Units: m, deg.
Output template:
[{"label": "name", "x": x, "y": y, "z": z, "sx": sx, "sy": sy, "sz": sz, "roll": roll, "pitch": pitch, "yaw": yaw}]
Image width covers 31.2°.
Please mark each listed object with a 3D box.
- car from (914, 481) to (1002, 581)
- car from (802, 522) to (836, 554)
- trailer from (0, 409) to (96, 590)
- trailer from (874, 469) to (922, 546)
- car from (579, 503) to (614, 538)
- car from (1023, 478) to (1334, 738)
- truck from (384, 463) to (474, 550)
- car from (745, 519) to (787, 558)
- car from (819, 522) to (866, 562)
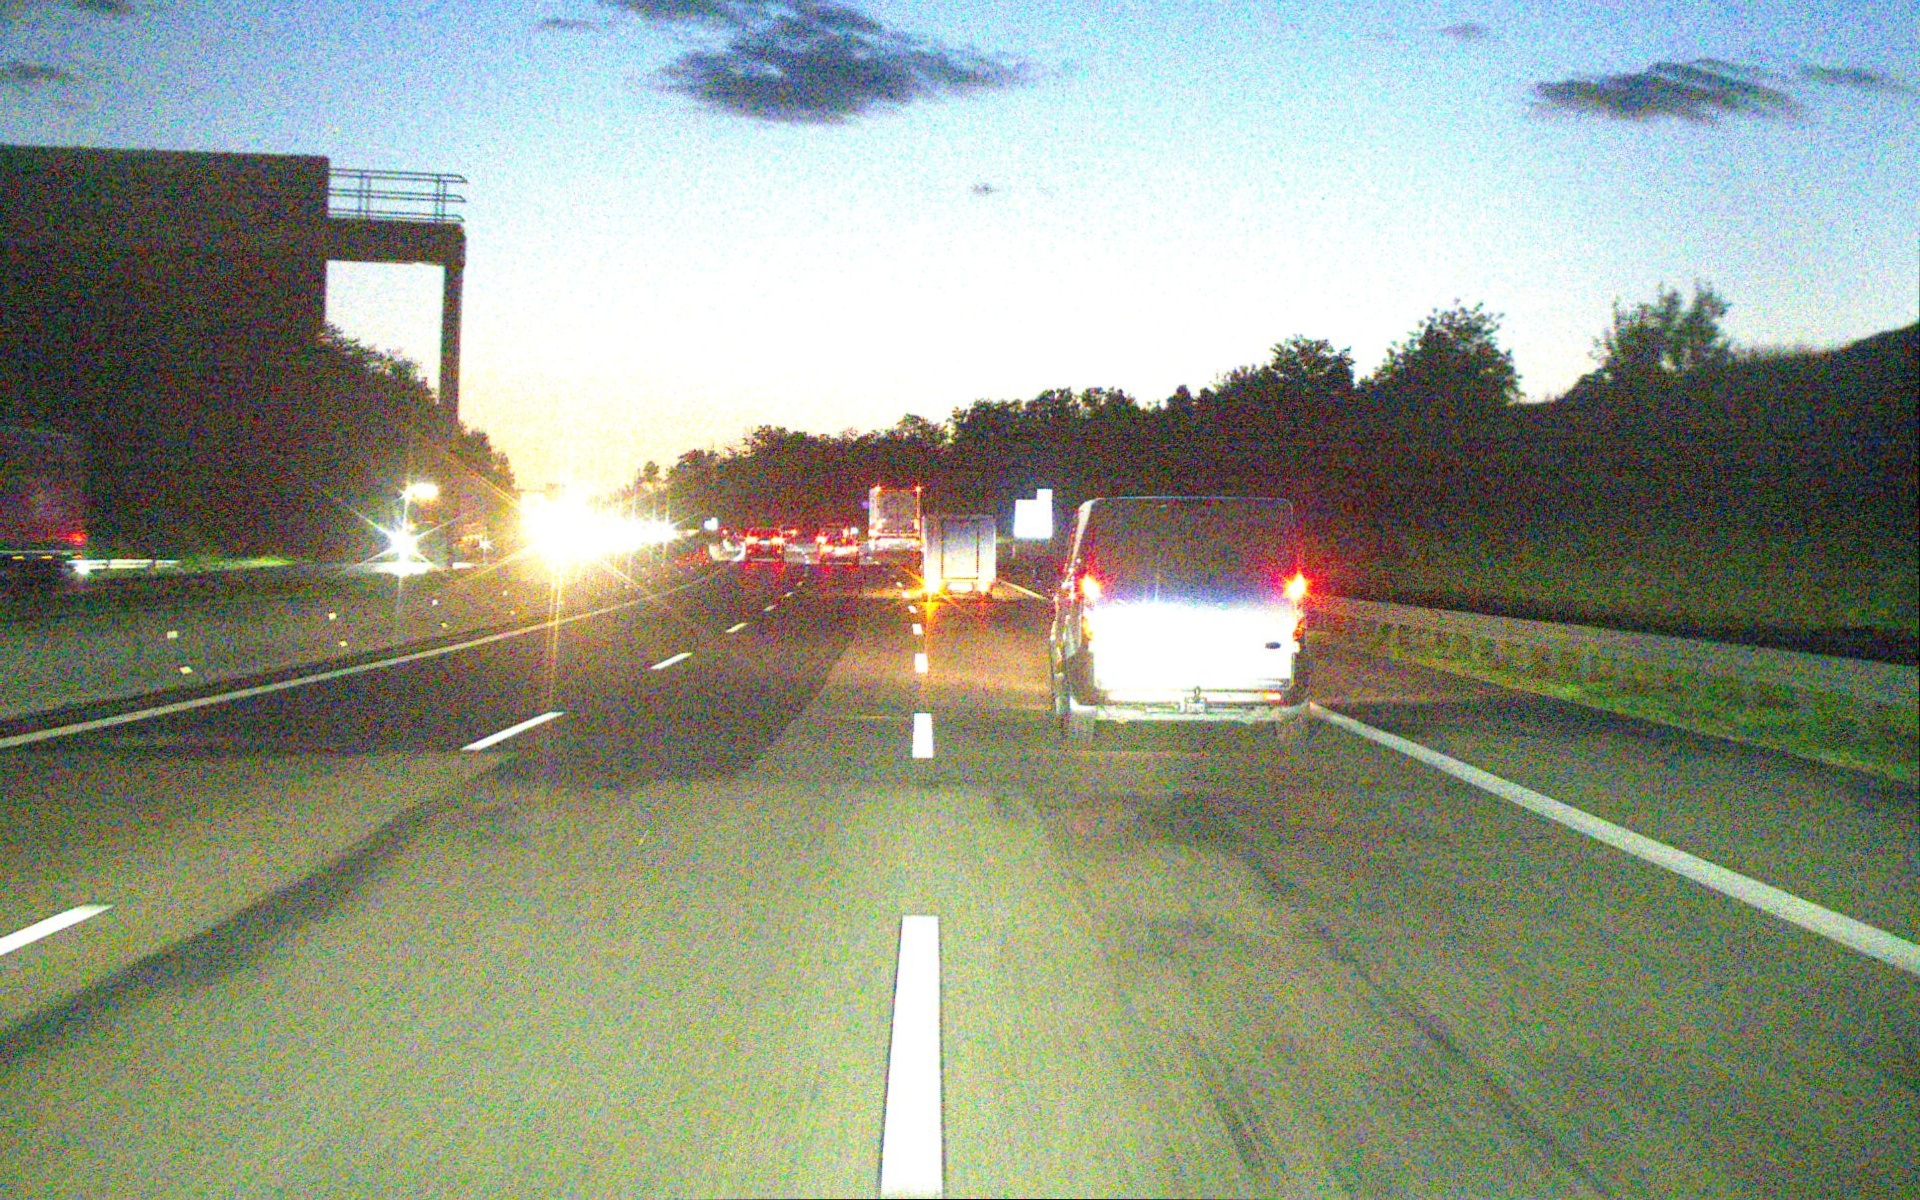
[{"label": "car", "x": -0.086, "y": -1.878, "z": 93.889, "sx": 2.032, "sy": 2.638, "sz": 5.726, "roll": 0, "pitch": 1, "yaw": -4}, {"label": "car", "x": -8.355, "y": -3.685, "z": 204.293, "sx": 1.993, "sy": 1.788, "sz": 4.000, "roll": 0, "pitch": 0, "yaw": -2}, {"label": "trailer", "x": -22.746, "y": -2.243, "z": 77.012, "sx": 3.430, "sy": 3.966, "sz": 14.050, "roll": 1, "pitch": 1, "yaw": -1}, {"label": "trailer", "x": -3.906, "y": -5.636, "z": 213.656, "sx": 2.829, "sy": 4.242, "sz": 17.049, "roll": 0, "pitch": 0, "yaw": -1}, {"label": "car", "x": -26.524, "y": -5.820, "z": 250.960, "sx": 2.101, "sy": 2.509, "sz": 6.217, "roll": 0, "pitch": 1, "yaw": -2}, {"label": "car", "x": 1.743, "y": 0.010, "z": 29.386, "sx": 2.115, "sy": 1.994, "sz": 5.664, "roll": 0, "pitch": 1, "yaw": -2}, {"label": "truck", "x": -24.877, "y": -4.348, "z": 161.400, "sx": 3.430, "sy": 3.966, "sz": 6.208, "roll": 1, "pitch": 1, "yaw": -2}, {"label": "car", "x": -9.499, "y": -2.994, "z": 168.476, "sx": 1.993, "sy": 1.810, "sz": 4.000, "roll": 0, "pitch": 0, "yaw": -3}, {"label": "car", "x": -5.573, "y": -2.724, "z": 163.139, "sx": 1.993, "sy": 1.788, "sz": 4.000, "roll": 0, "pitch": 0, "yaw": -5}]
